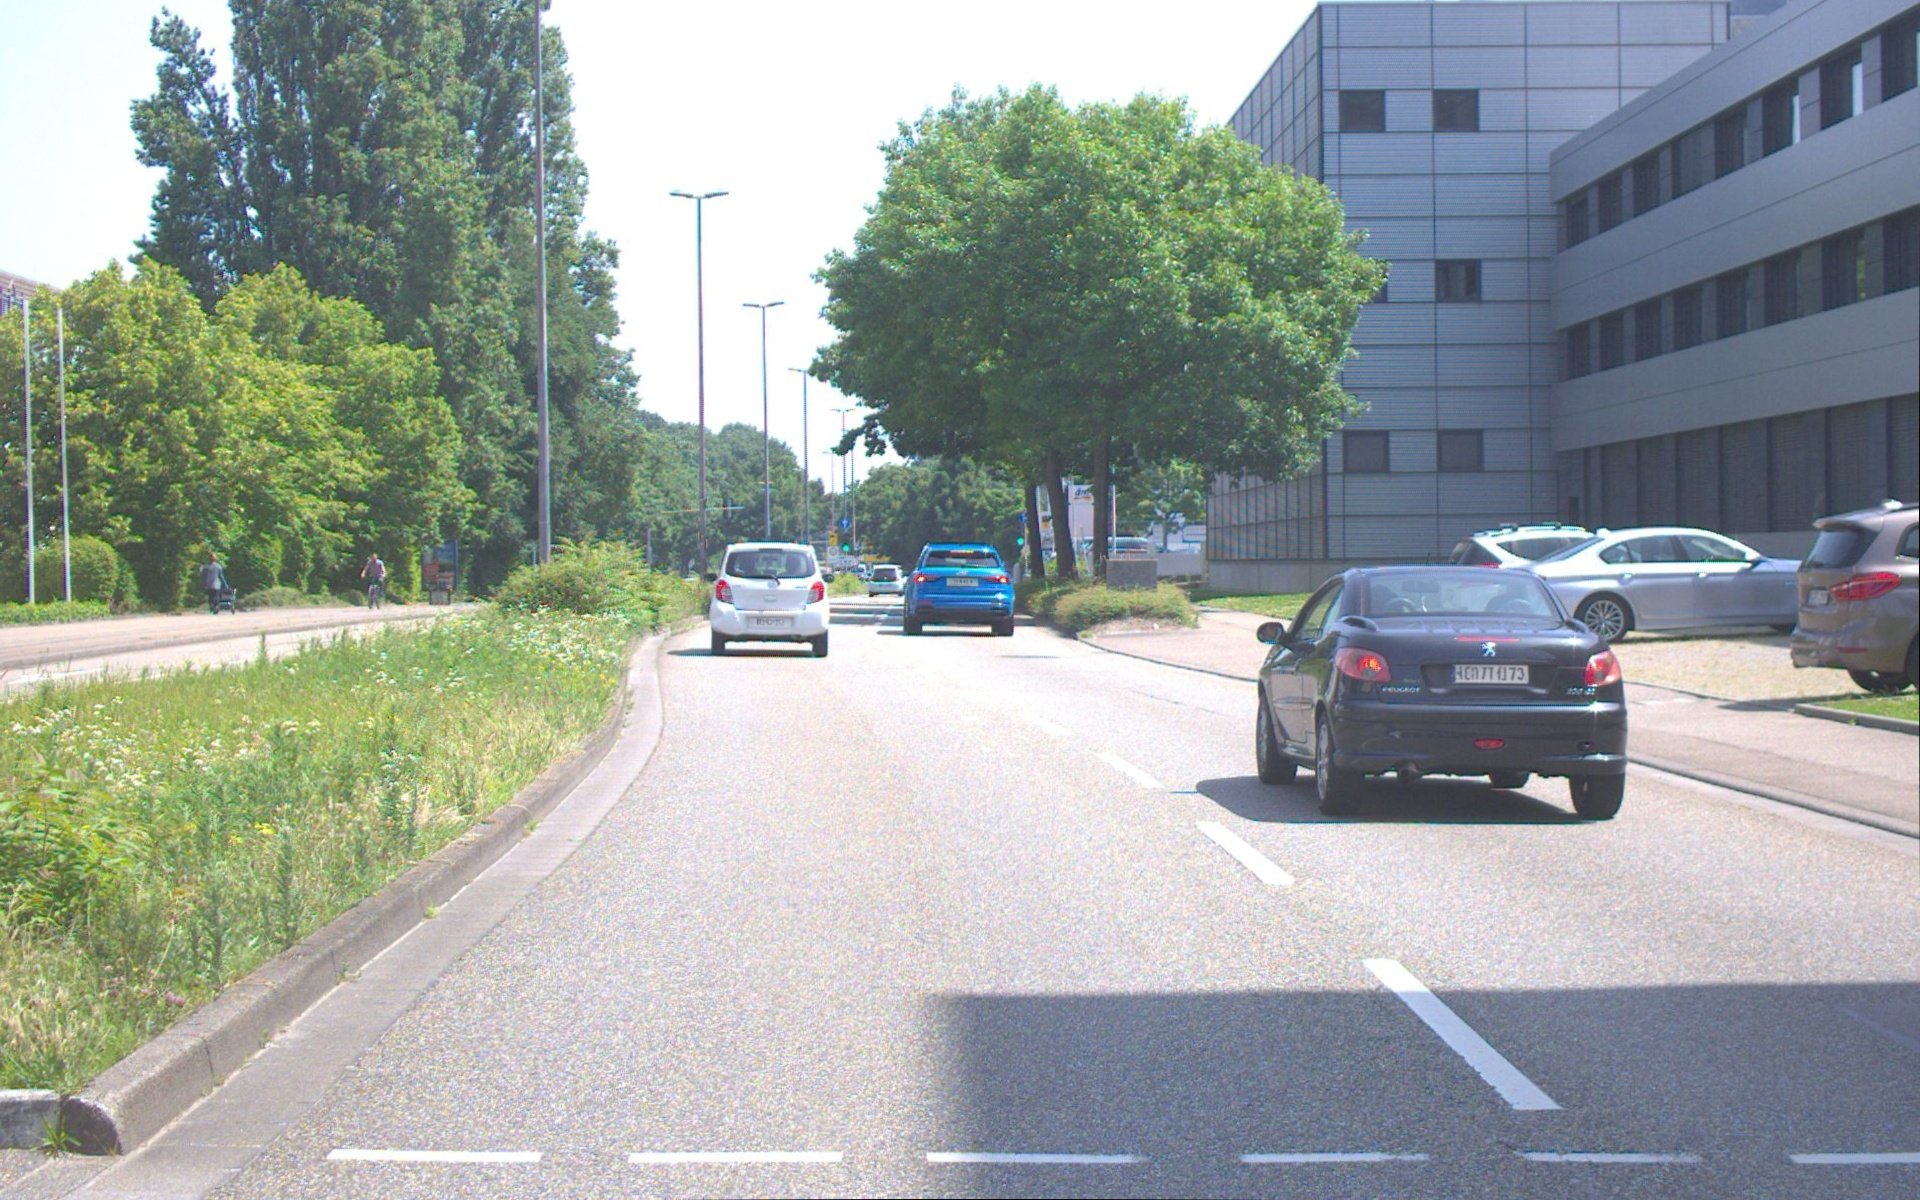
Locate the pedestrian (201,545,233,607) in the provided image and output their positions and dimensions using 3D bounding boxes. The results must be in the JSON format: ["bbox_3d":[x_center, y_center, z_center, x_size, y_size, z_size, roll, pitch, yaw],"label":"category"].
[{"bbox_3d":[-18.845,-0.611,87.164,0.633,1.539,0.727,-1,0,-1],"label":"pedestrian"}]

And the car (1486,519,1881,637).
[{"bbox_3d":[9.343,-0.300,44.606,4.612,1.385,2.000,-1,1,-5],"label":"car"}]

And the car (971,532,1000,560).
[{"bbox_3d":[1.860,-3.989,253.073,1.769,2.007,3.991,-1,1,-4],"label":"car"}]

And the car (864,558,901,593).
[{"bbox_3d":[-3.836,-1.221,170.054,1.819,1.656,4.000,-1,1,-2],"label":"car"}]

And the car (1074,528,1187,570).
[{"bbox_3d":[7.001,-2.097,141.533,4.499,1.577,2.000,-2,0,-1],"label":"car"}]

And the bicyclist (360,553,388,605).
[{"bbox_3d":[-17.411,-0.625,102.168,0.717,1.511,1.027,-1,1,-4],"label":"bicyclist"}]

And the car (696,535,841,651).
[{"bbox_3d":[-2.623,-0.131,47.788,1.748,1.515,3.746,0,1,1],"label":"car"}]

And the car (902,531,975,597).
[{"bbox_3d":[-0.497,-0.872,81.458,1.559,1.515,3.605,-1,1,2],"label":"car"}]

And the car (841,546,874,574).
[{"bbox_3d":[-6.397,-2.470,213.593,1.819,1.656,4.001,-1,2,-5],"label":"car"}]

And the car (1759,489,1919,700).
[{"bbox_3d":[9.099,-0.108,28.767,4.258,1.683,2.000,-1,1,-5],"label":"car"}]

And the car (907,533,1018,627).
[{"bbox_3d":[0.013,-0.379,60.121,1.827,1.575,3.606,-1,1,-2],"label":"car"}]

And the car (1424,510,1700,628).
[{"bbox_3d":[9.288,-0.484,53.222,3.811,1.586,1.733,-3,1,-5],"label":"car"}]

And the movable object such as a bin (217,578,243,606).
[{"bbox_3d":[-18.437,-0.201,86.831,0.428,0.703,0.652,-1,0,8],"label":"movable object such as a bin"}]

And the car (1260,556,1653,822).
[{"bbox_3d":[2.764,0.444,19.847,1.627,1.359,3.606,0,1,-2],"label":"car"}]
